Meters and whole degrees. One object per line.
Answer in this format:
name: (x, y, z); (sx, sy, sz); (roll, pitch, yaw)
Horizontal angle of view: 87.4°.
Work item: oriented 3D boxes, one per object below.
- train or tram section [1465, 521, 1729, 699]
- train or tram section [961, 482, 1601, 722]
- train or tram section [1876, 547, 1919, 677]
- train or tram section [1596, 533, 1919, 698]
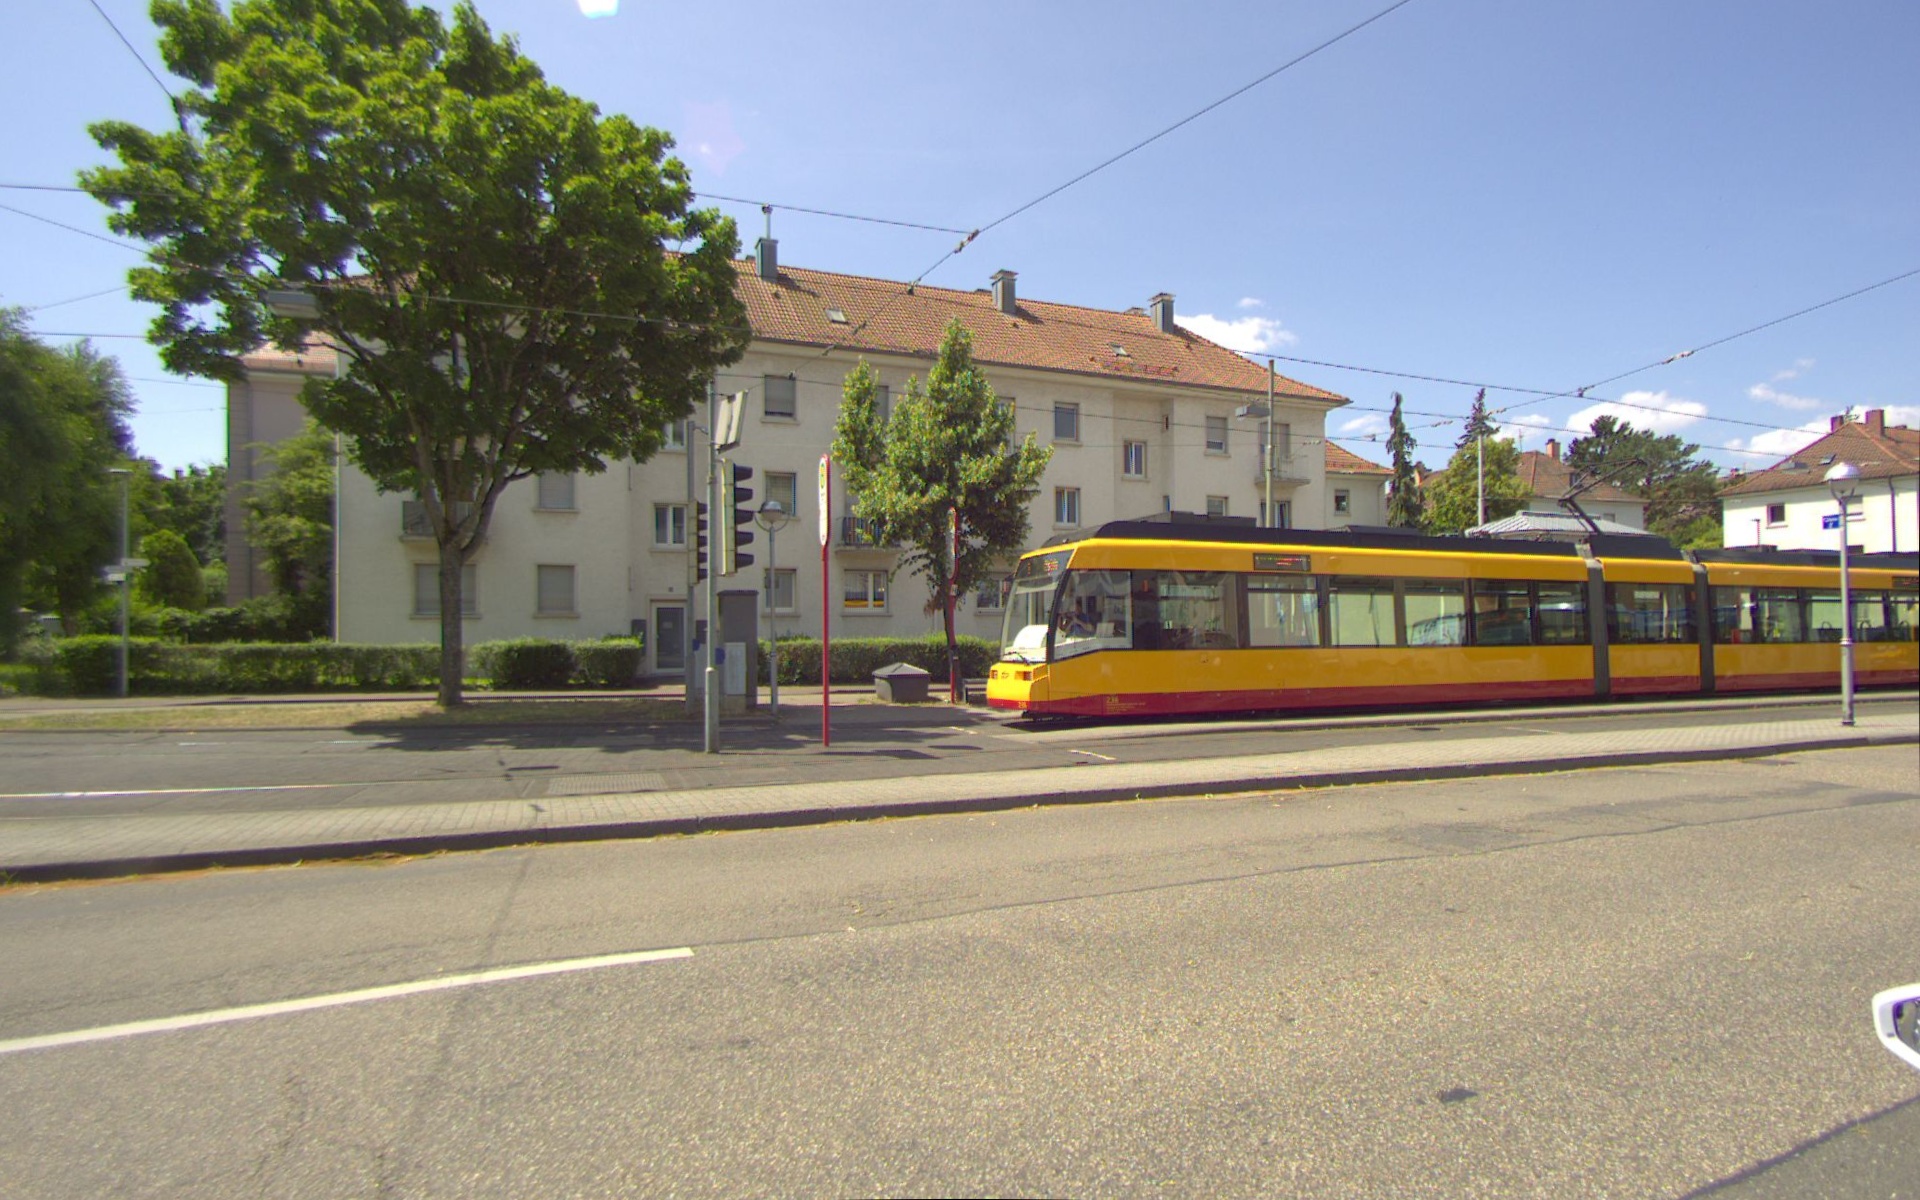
train or tram section: (13.990, 0.271, 22.164); (4.355, 3.541, 2.957); (1, -2, -23)
train or tram section: (6.353, 0.103, 18.740); (12.533, 3.542, 2.956); (1, 0, -24)
train or tram section: (35.173, 0.454, 31.394); (17.107, 3.691, 2.956); (1, 0, -24)
train or tram section: (21.691, 0.393, 25.439); (12.478, 3.542, 2.956); (1, 0, -24)
